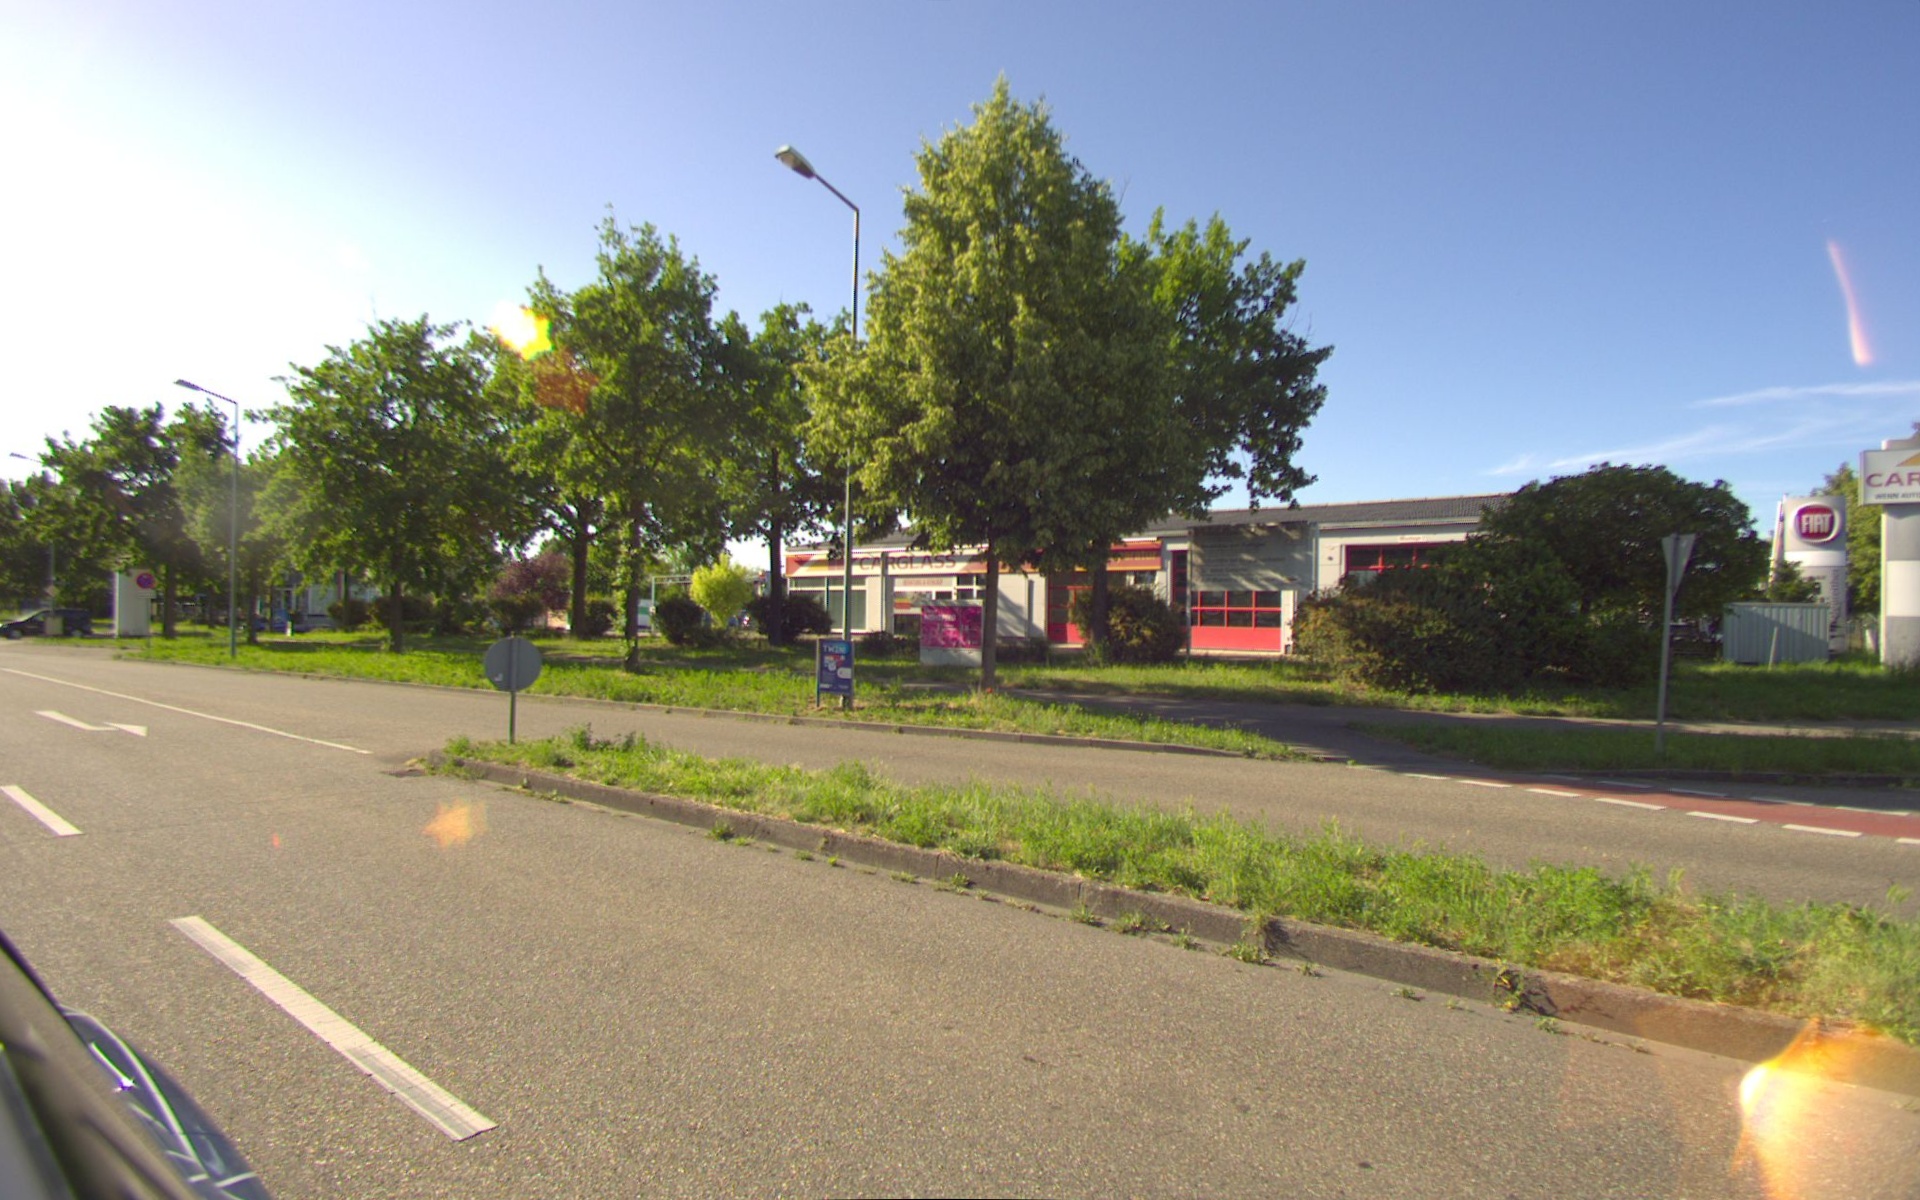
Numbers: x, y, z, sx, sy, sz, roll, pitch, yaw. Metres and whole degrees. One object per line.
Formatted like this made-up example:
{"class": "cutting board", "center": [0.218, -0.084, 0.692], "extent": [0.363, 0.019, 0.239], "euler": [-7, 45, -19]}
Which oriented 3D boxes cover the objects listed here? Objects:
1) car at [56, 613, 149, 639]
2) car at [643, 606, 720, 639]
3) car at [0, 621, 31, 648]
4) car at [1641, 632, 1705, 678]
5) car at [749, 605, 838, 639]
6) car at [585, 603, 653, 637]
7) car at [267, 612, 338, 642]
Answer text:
{"class": "car", "center": [-52.067, 1.562, 61.490], "extent": [4.152, 1.497, 1.779], "euler": [1, -2, -45]}
{"class": "car", "center": [-17.853, 1.397, 64.981], "extent": [1.995, 1.960, 4.436], "euler": [-1, 0, 38]}
{"class": "car", "center": [-55.515, 1.992, 58.942], "extent": [4.216, 1.497, 1.752], "euler": [-1, -3, 44]}
{"class": "car", "center": [31.167, 2.345, 44.199], "extent": [1.998, 1.741, 3.947], "euler": [-1, 0, 39]}
{"class": "car", "center": [-8.283, 1.078, 50.626], "extent": [1.995, 1.599, 4.186], "euler": [-1, 0, 39]}
{"class": "car", "center": [-23.541, 1.401, 69.937], "extent": [1.775, 2.234, 4.161], "euler": [-1, -2, 38]}
{"class": "car", "center": [-46.690, 1.937, 71.937], "extent": [3.938, 2.029, 2.003], "euler": [2, -2, -41]}
